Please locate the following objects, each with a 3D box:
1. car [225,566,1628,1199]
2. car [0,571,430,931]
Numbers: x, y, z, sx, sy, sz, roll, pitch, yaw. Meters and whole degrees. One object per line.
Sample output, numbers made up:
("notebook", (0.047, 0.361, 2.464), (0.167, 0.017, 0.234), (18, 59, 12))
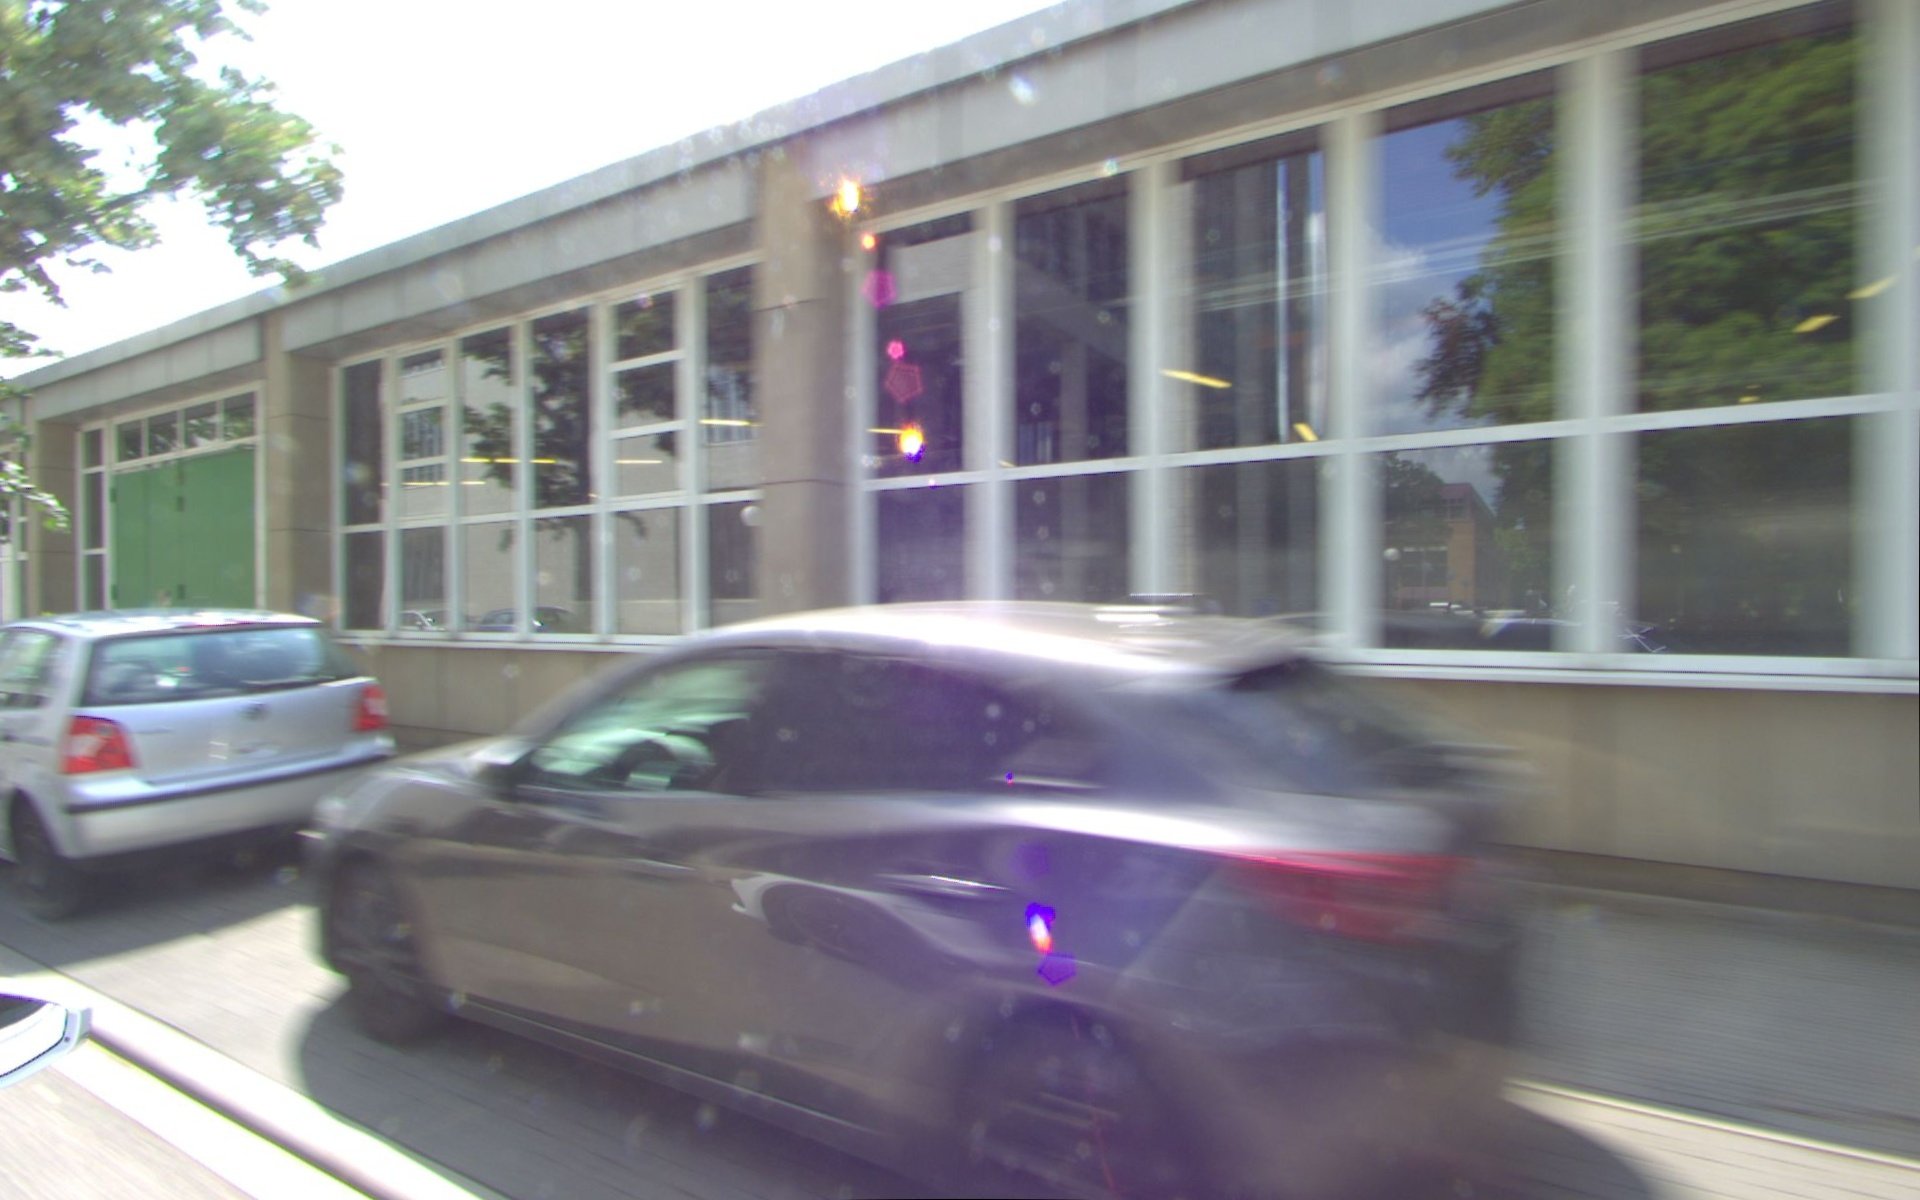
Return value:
("car", (-0.441, 0.685, 3.378), (4.397, 1.496, 1.776), (0, 1, 32))
("car", (-5.010, 0.667, 6.029), (3.726, 1.559, 1.613), (0, 0, 33))
